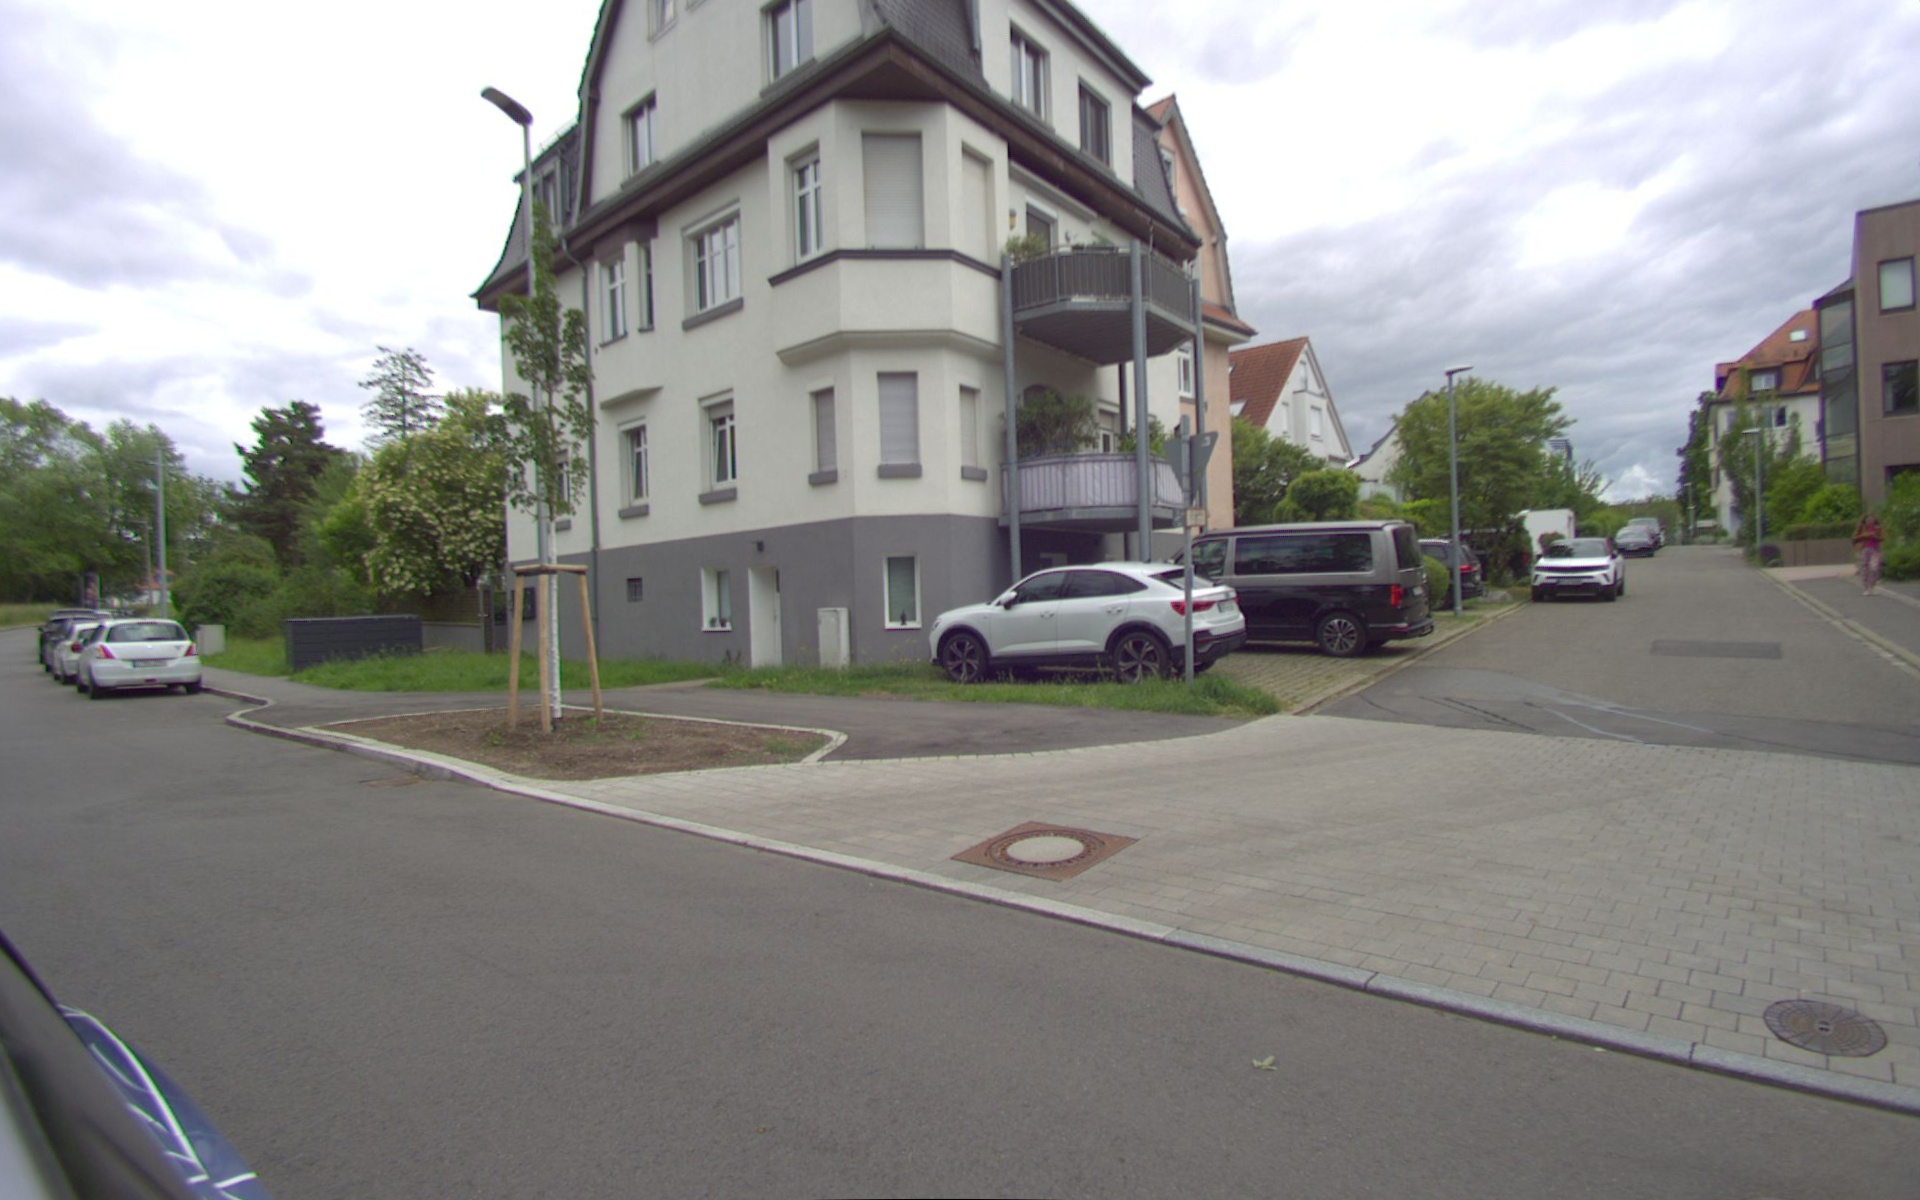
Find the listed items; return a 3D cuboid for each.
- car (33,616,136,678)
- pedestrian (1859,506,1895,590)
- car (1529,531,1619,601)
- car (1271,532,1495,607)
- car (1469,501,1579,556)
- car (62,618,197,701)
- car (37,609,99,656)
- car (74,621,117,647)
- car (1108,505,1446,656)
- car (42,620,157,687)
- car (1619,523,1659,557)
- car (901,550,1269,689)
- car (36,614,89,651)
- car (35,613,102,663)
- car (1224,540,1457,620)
[{"bbox_3d":[-24.487,1.276,28.241,4.816,1.585,1.707,-2,-3,44],"label":"car"},{"bbox_3d":[19.907,-1.125,21.978,0.562,1.784,0.564,0,3,41],"label":"pedestrian"},{"bbox_3d":[15.505,-0.889,25.727,1.758,1.582,3.961,-2,2,29],"label":"car"},{"bbox_3d":[10.281,-0.726,24.785,4.755,1.638,1.850,0,4,37],"label":"car"},{"bbox_3d":[24.769,-3.085,44.459,3.993,2.131,1.949,0,0,37],"label":"car"},{"bbox_3d":[-16.729,1.105,20.309,4.072,1.481,1.624,-1,-1,44],"label":"car"},{"bbox_3d":[-36.118,1.265,40.999,1.774,1.814,4.070,1,-1,-41],"label":"car"},{"bbox_3d":[-50.851,1.978,59.569,1.710,1.439,3.465,0,-1,-37],"label":"car"},{"bbox_3d":[4.922,-0.323,16.049,4.755,2.066,1.889,0,4,37],"label":"car"},{"bbox_3d":[-20.811,1.208,24.399,4.728,1.400,1.705,0,-1,45],"label":"car"},{"bbox_3d":[33.805,-2.967,50.400,1.601,1.563,3.546,0,2,35],"label":"car"},{"bbox_3d":[1.588,0.194,13.702,4.589,1.544,1.889,0,4,37],"label":"car"},{"bbox_3d":[-39.768,1.404,44.902,1.641,1.517,4.052,1,-1,-40],"label":"car"},{"bbox_3d":[-30.430,1.236,34.528,1.641,1.594,4.082,1,-1,-42],"label":"car"},{"bbox_3d":[7.945,-0.423,21.310,4.314,1.509,1.665,0,4,37],"label":"car"}]
